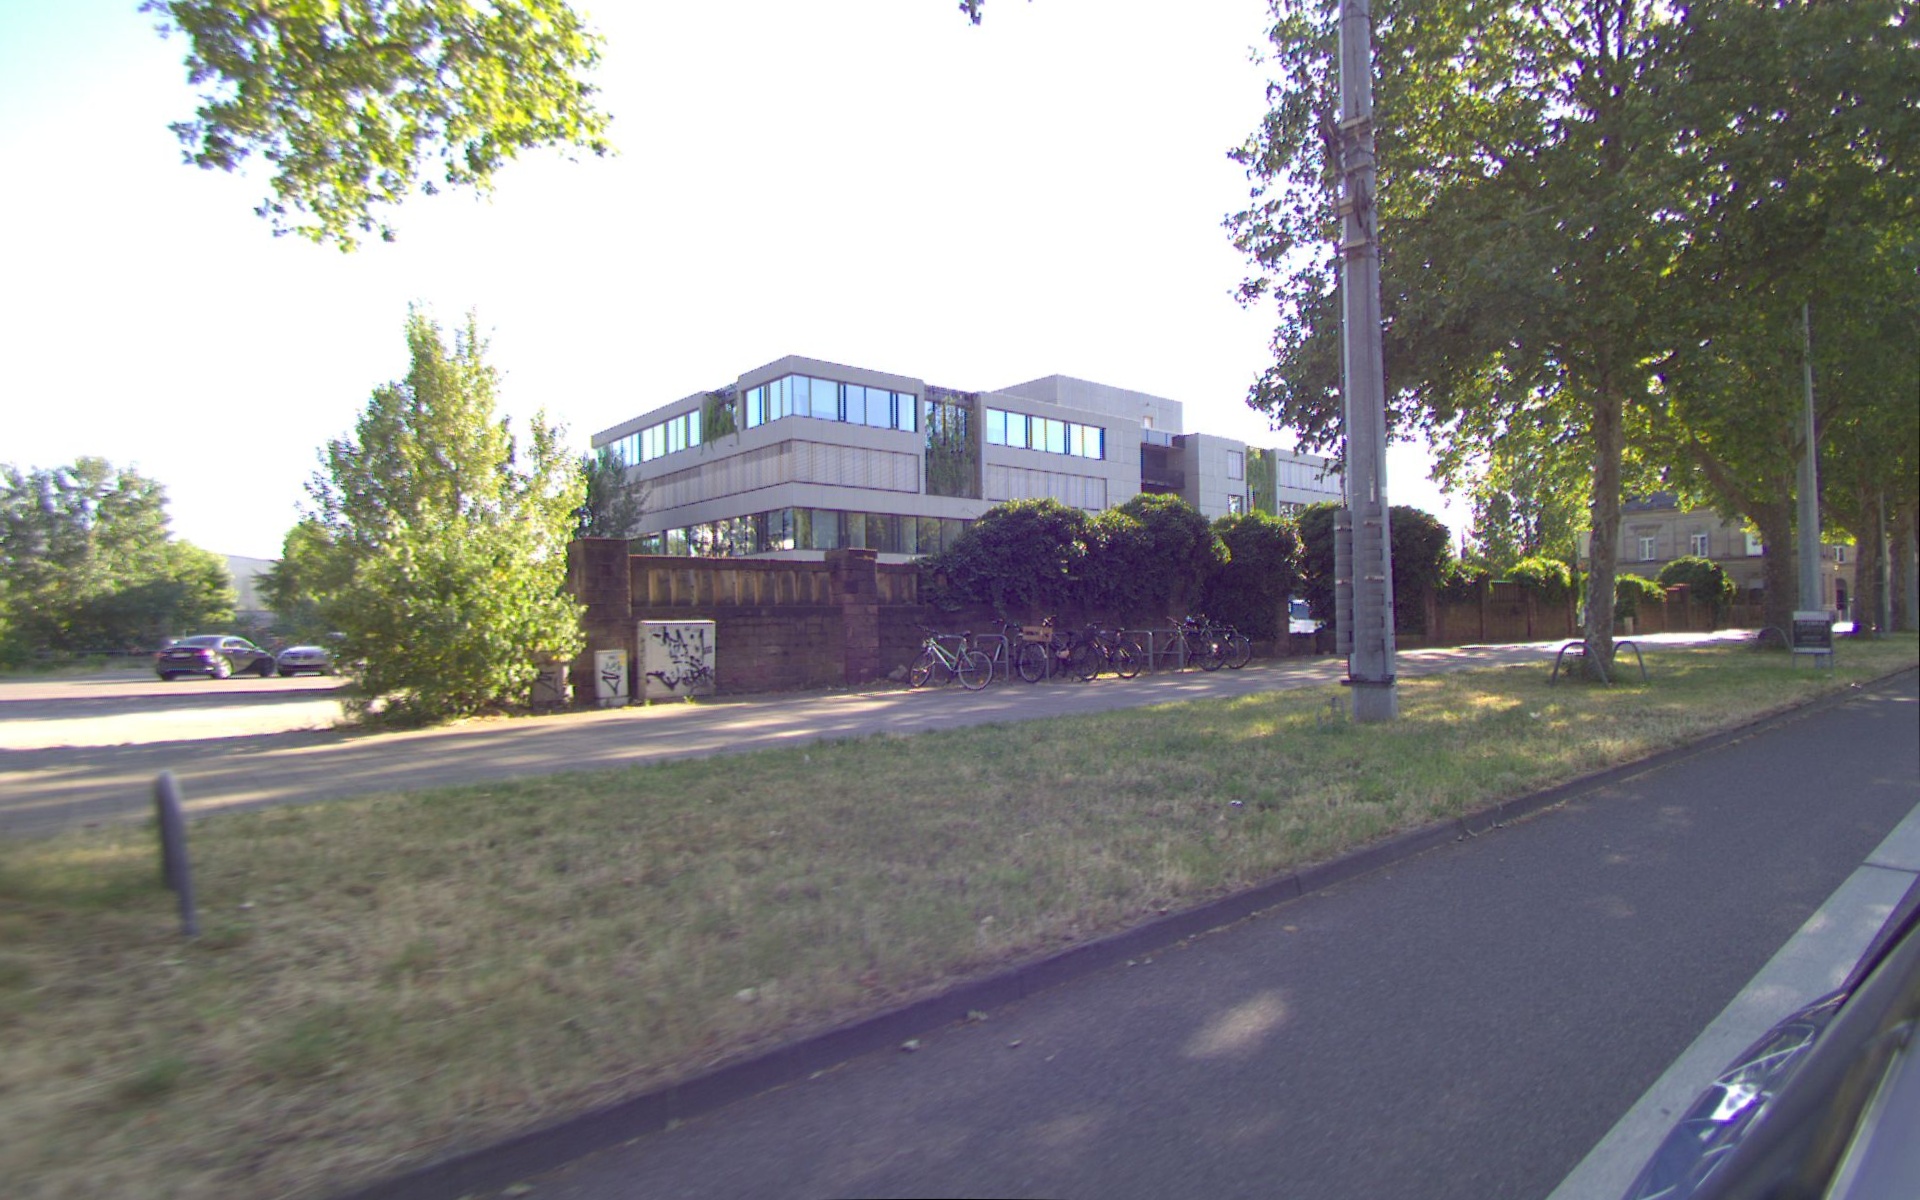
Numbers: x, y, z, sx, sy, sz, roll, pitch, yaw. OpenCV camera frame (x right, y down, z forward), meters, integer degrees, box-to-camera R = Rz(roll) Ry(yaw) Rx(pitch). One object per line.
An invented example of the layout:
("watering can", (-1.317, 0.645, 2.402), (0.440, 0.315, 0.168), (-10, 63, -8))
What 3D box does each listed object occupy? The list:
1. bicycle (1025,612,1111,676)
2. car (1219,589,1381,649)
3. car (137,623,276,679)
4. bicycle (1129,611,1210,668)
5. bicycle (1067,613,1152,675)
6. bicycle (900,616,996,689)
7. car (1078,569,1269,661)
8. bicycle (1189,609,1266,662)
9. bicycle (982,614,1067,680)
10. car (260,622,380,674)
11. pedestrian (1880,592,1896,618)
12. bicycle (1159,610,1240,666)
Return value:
("bicycle", (1.996, 0.798, 18.900), (0.432, 1.134, 1.776), (0, 0, -41))
("car", (12.232, 0.732, 36.761), (1.965, 2.008, 5.270), (0, -2, -41))
("car", (-24.598, 1.613, 33.250), (1.821, 1.632, 4.371), (-1, -1, -8))
("bicycle", (4.359, 0.806, 21.178), (0.432, 1.134, 1.776), (0, 0, -41))
("bicycle", (2.887, 0.828, 19.671), (0.432, 1.134, 1.776), (0, 0, -41))
("bicycle", (-0.224, 0.836, 16.683), (1.772, 1.134, 0.433), (0, 0, 43))
("car", (6.262, 0.509, 30.364), (1.965, 2.522, 5.468), (0, -2, -41))
("bicycle", (5.902, 0.767, 22.421), (0.432, 1.134, 1.690), (0, 0, -41))
("bicycle", (1.161, 0.825, 18.470), (0.432, 1.134, 1.776), (0, 0, -41))
("car", (-22.221, 1.616, 35.353), (1.959, 1.609, 4.372), (-1, -1, -9))
("pedestrian", (62.610, 0.342, 68.266), (0.769, 1.766, 0.784), (0, 0, 43))
("bicycle", (5.113, 0.791, 21.731), (0.432, 1.134, 1.776), (0, 0, -41))
